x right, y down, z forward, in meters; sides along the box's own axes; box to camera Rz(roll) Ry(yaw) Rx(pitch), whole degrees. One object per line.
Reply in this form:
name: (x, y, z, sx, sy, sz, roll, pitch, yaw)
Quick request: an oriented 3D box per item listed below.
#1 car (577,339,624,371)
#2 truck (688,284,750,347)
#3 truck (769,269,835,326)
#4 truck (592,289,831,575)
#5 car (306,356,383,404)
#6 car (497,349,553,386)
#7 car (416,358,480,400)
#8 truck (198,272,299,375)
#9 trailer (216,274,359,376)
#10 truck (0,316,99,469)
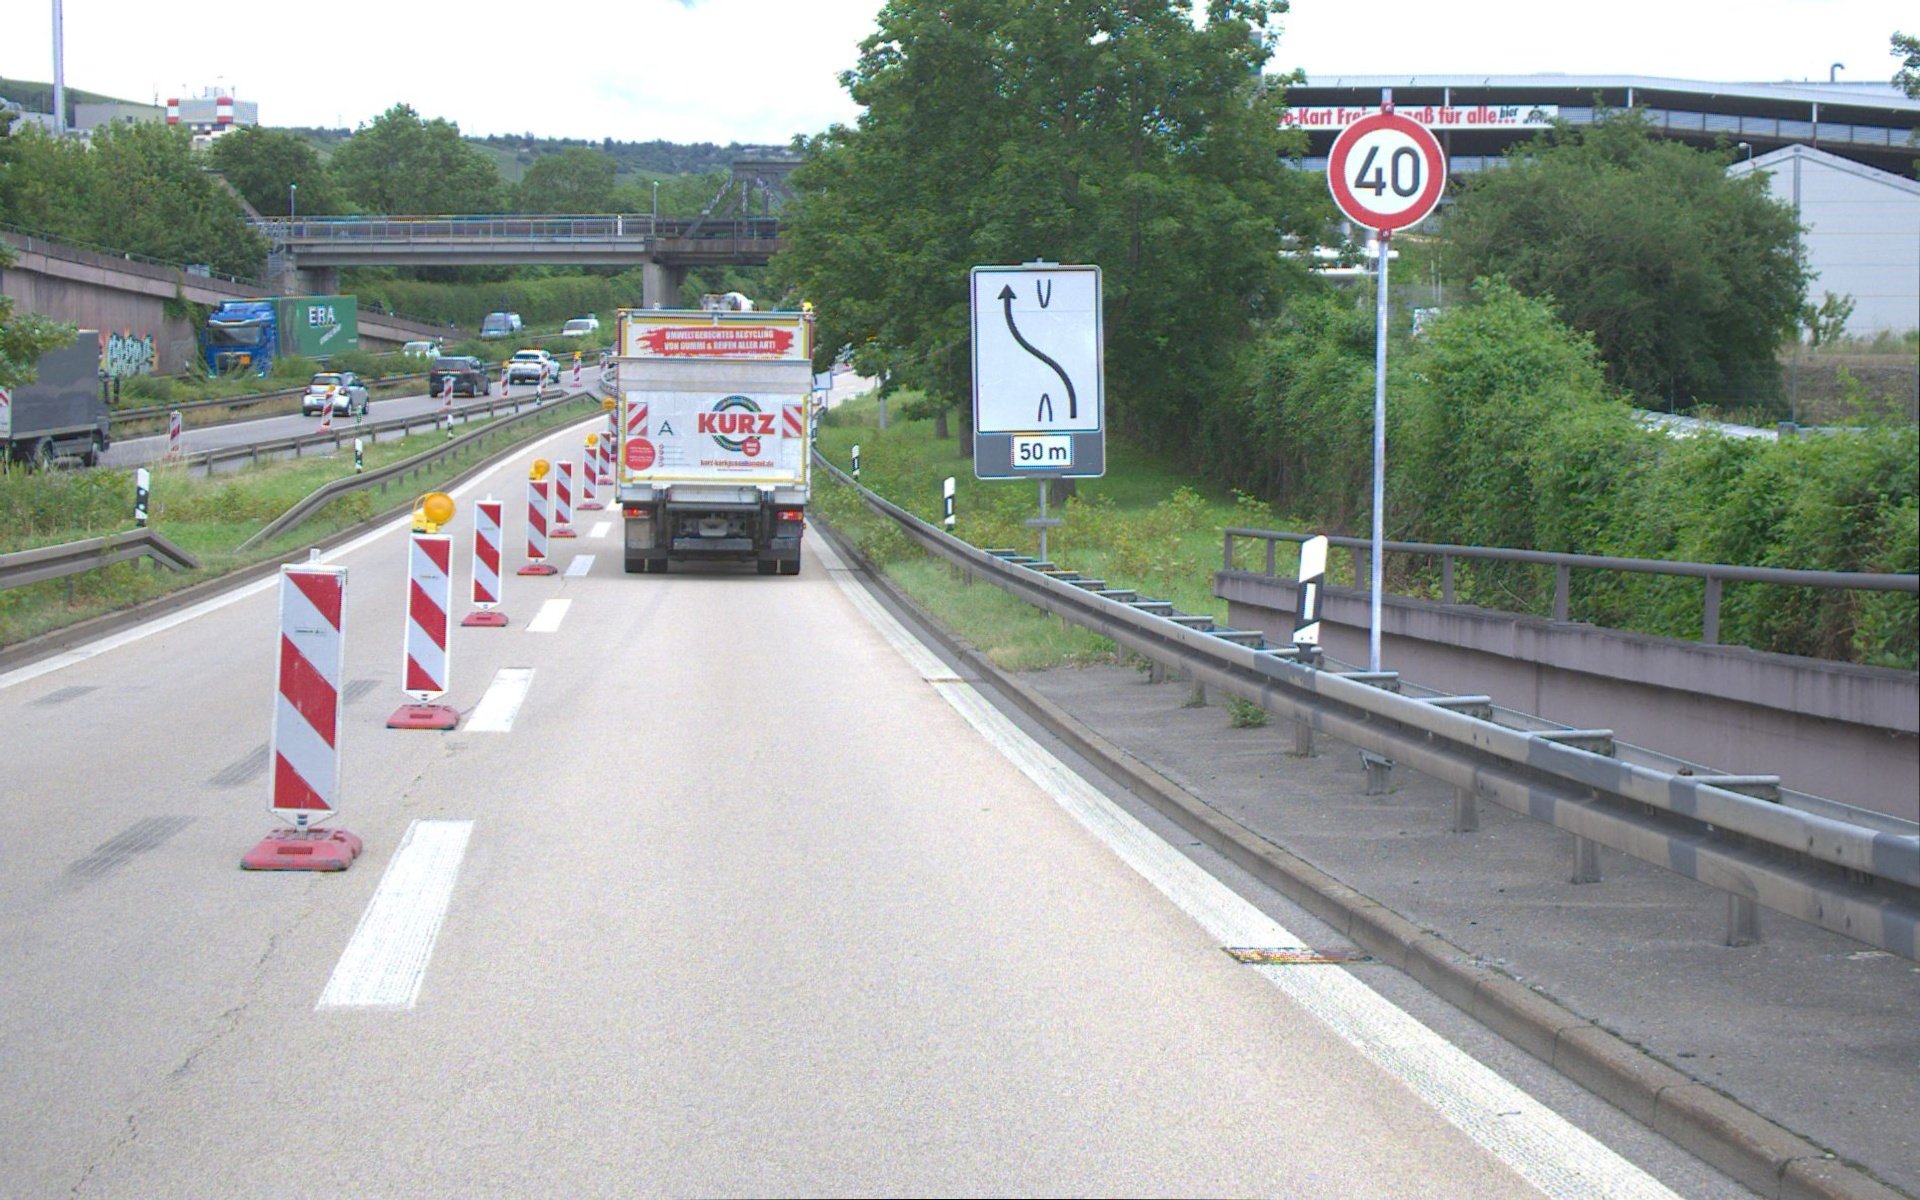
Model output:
car: (-18.697, -12.778, 178.991, 1.993, 1.612, 4.001, 1, 5, 0)
truck: (-15.087, -17.896, 216.077, 3.286, 3.838, 7.667, 1, 5, 0)
truck: (-10.227, -19.666, 223.838, 3.287, 3.587, 7.665, 1, 5, 5)
truck: (-3.496, -2.366, 48.260, 3.050, 3.660, 7.930, 0, 3, -4)
car: (-21.629, -7.757, 120.945, 1.993, 1.612, 4.001, 1, 5, 0)
car: (-19.548, -10.451, 154.498, 1.993, 1.612, 4.001, 1, 5, 0)
car: (-20.773, -8.990, 139.544, 1.993, 1.612, 4.001, 1, 5, 0)
truck: (-30.200, -11.745, 146.127, 2.753, 4.256, 5.503, 1, 5, 4)
trailer: (-29.727, -12.218, 152.738, 2.772, 4.278, 13.981, 1, 5, 4)
truck: (-24.039, -5.266, 85.923, 3.051, 3.643, 7.397, 1, 5, 1)
